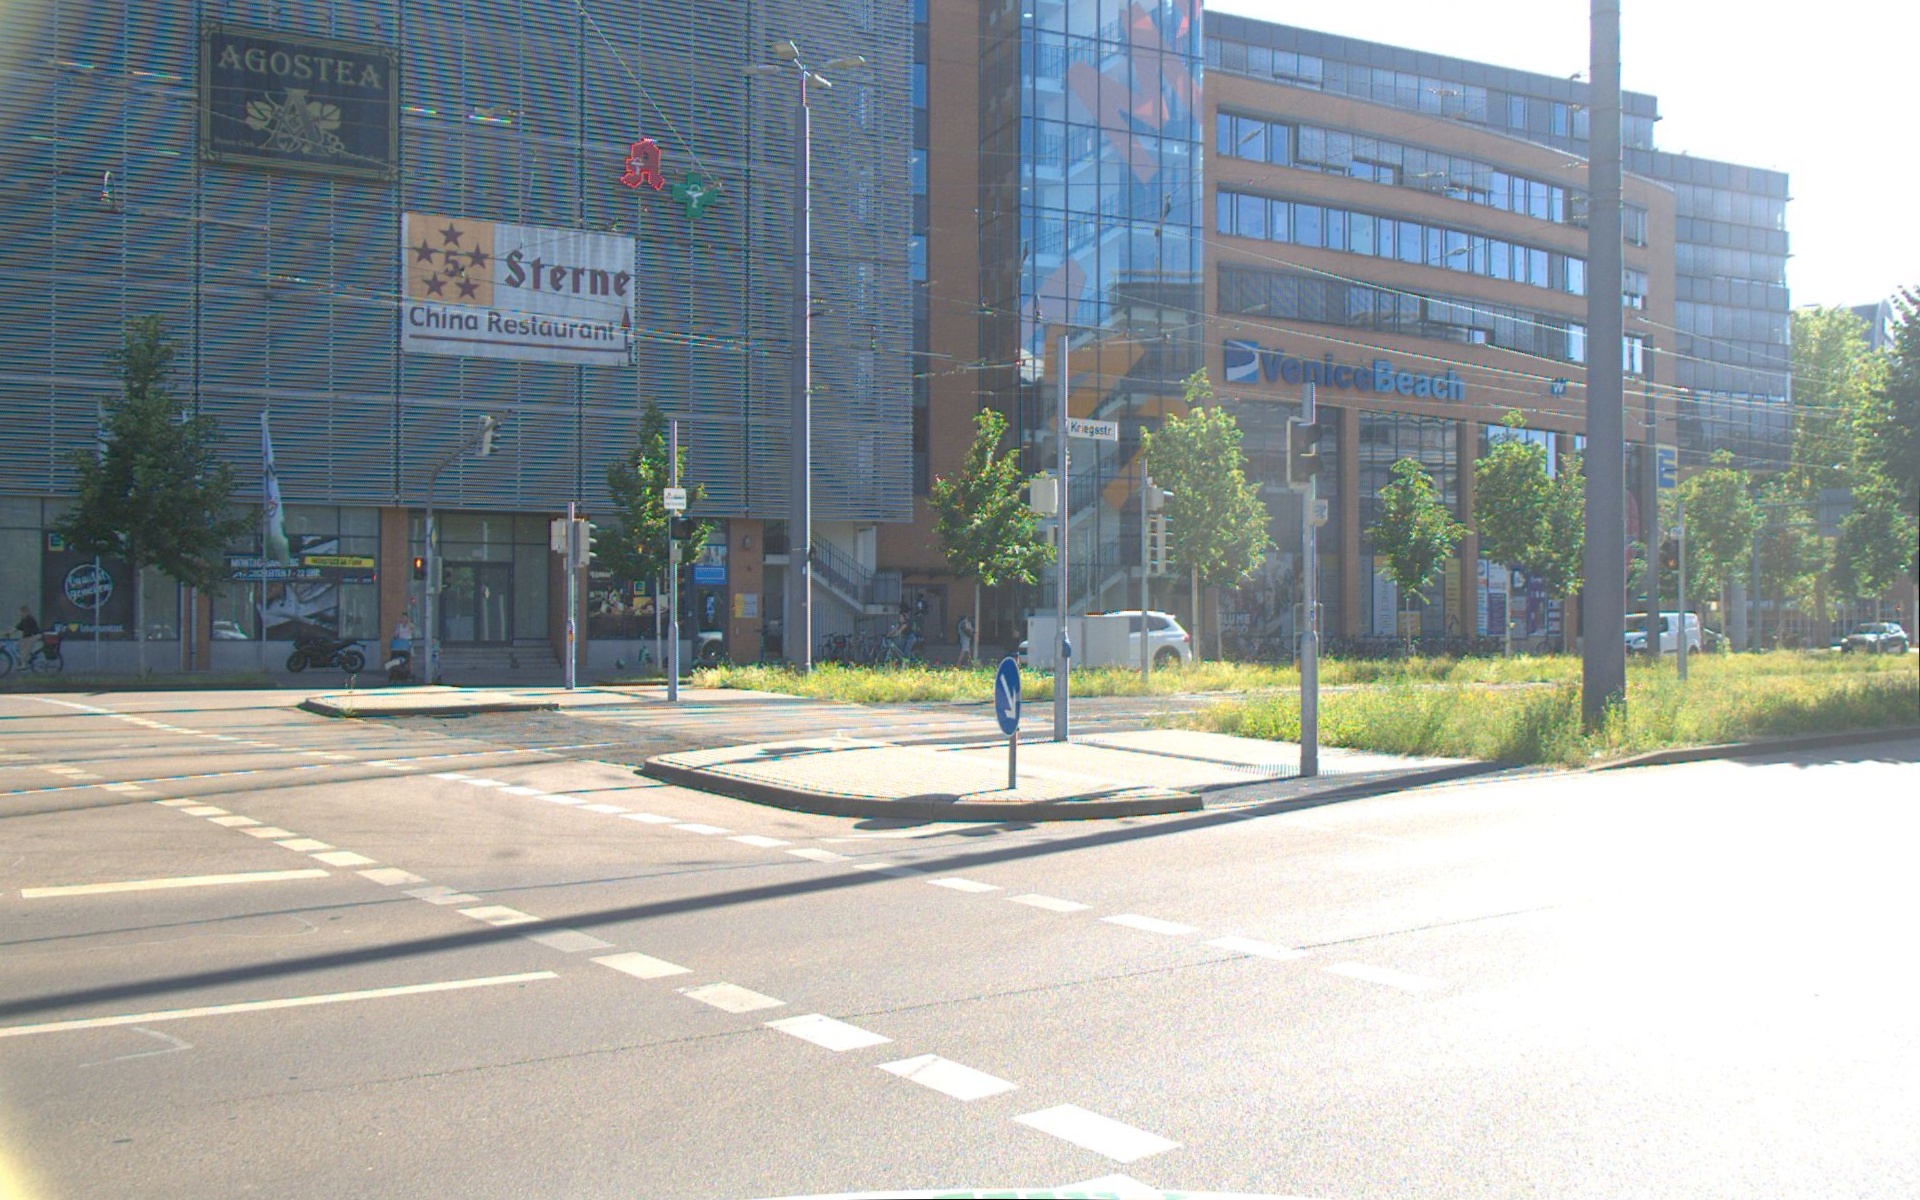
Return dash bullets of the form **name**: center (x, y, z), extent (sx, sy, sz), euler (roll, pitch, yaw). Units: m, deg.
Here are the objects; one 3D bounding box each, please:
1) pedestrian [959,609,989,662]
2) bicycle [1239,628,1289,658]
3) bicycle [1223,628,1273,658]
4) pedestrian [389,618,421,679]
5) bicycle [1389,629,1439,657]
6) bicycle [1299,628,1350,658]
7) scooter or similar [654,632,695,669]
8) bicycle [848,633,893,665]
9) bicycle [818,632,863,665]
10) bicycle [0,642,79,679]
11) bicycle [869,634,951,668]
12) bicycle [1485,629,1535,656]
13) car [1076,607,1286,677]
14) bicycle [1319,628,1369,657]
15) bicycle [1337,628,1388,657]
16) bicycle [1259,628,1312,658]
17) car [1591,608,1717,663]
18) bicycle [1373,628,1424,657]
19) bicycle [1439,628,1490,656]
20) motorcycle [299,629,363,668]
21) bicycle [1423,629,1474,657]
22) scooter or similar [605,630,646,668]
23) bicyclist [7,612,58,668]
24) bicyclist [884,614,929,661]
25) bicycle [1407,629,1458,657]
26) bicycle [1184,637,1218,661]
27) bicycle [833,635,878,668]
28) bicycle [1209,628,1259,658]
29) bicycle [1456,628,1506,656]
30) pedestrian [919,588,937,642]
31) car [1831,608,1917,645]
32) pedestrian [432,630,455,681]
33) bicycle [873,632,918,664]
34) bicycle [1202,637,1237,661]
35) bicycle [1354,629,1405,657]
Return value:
- **pedestrian**: center (0.450, 1.155, 53.812), extent (0.771, 1.714, 0.589), euler (1, -1, -40)
- **bicycle**: center (12.264, 1.724, 66.704), extent (0.743, 1.143, 2.157), euler (1, 0, -31)
- **bicycle**: center (11.531, 1.720, 66.238), extent (0.743, 1.143, 2.157), euler (1, 0, -31)
- **pedestrian**: center (-13.882, 1.200, 41.391), extent (0.727, 1.513, 0.488), euler (1, -1, -17)
- **bicycle**: center (19.185, 1.804, 69.938), extent (0.743, 1.143, 2.157), euler (1, 0, -31)
- **bicycle**: center (14.947, 1.752, 67.850), extent (0.743, 1.143, 2.157), euler (1, 0, -31)
- **scooter or similar**: center (-8.826, 1.553, 51.143), extent (1.186, 1.122, 0.275), euler (2, -2, -25)
- **bicycle**: center (-2.909, 1.580, 53.662), extent (0.486, 0.971, 2.157), euler (1, 0, -31)
- **bicycle**: center (-3.840, 1.552, 52.982), extent (0.486, 0.971, 2.157), euler (1, 0, -31)
- **bicycle**: center (-22.559, 1.461, 40.156), extent (2.018, 0.882, 0.676), euler (1, -1, -28)
- **bicycle**: center (-1.532, 1.557, 51.179), extent (2.528, 1.028, 0.593), euler (1, -1, -26)
- **bicycle**: center (24.258, 1.873, 73.001), extent (0.743, 1.143, 2.157), euler (1, 0, -31)
- **car**: center (5.659, 1.038, 41.998), extent (5.475, 1.681, 1.794), euler (1, -1, -33)
- **bicycle**: center (15.840, 1.758, 68.294), extent (0.743, 1.143, 2.157), euler (1, 0, -31)
- **bicycle**: center (16.734, 1.768, 68.798), extent (0.743, 1.143, 2.157), euler (1, 0, -31)
- **bicycle**: center (13.197, 1.721, 67.093), extent (0.745, 1.143, 2.152), euler (1, 0, -36)
- **car**: center (27.023, 1.364, 64.366), extent (5.197, 2.049, 2.200), euler (1, -1, -36)
- **bicycle**: center (18.419, 1.776, 69.569), extent (0.743, 1.143, 2.157), euler (1, 0, -31)
- **bicycle**: center (21.851, 1.829, 71.713), extent (0.743, 1.143, 2.157), euler (1, 0, -31)
- **motorcycle**: center (-17.306, 1.334, 45.507), extent (1.594, 1.056, 0.398), euler (1, -1, -26)
- **bicycle**: center (21.004, 1.823, 71.168), extent (0.743, 1.143, 2.157), euler (1, 0, -31)
- **scooter or similar**: center (-10.180, 1.498, 50.351), extent (1.186, 1.122, 0.275), euler (2, -2, -25)
- **bicyclist**: center (-22.511, 0.972, 40.170), extent (1.024, 1.341, 0.676), euler (1, -1, -28)
- **bicyclist**: center (-1.659, 1.149, 51.138), extent (1.292, 1.432, 0.589), euler (1, -1, -26)
- **bicycle**: center (20.027, 1.822, 70.187), extent (0.743, 1.143, 2.157), euler (1, 0, -31)
- **bicycle**: center (8.870, 1.812, 60.959), extent (0.440, 0.833, 1.435), euler (1, 0, -31)
- **bicycle**: center (-3.369, 1.648, 53.318), extent (0.486, 0.971, 2.157), euler (1, 0, -31)
- **bicycle**: center (10.853, 1.687, 65.539), extent (0.743, 1.143, 2.157), euler (1, 0, -31)
- **bicycle**: center (22.700, 1.835, 72.106), extent (0.743, 1.143, 2.157), euler (1, 0, -31)
- **pedestrian**: center (-1.179, 0.554, 60.446), extent (0.531, 1.948, 0.372), euler (2, -2, -19)
- **car**: center (43.775, 1.282, 79.182), extent (4.488, 1.711, 1.974), euler (1, -1, -37)
- **pedestrian**: center (-12.815, 1.371, 41.015), extent (0.438, 1.250, 0.397), euler (0, -1, -1)
- **bicycle**: center (-2.113, 1.574, 54.080), extent (0.486, 0.971, 2.157), euler (1, 0, -31)
- **bicycle**: center (9.648, 1.829, 61.546), extent (0.440, 0.833, 1.435), euler (1, 0, -31)
- **bicycle**: center (17.540, 1.790, 69.220), extent (0.743, 1.143, 2.157), euler (1, 0, -31)
